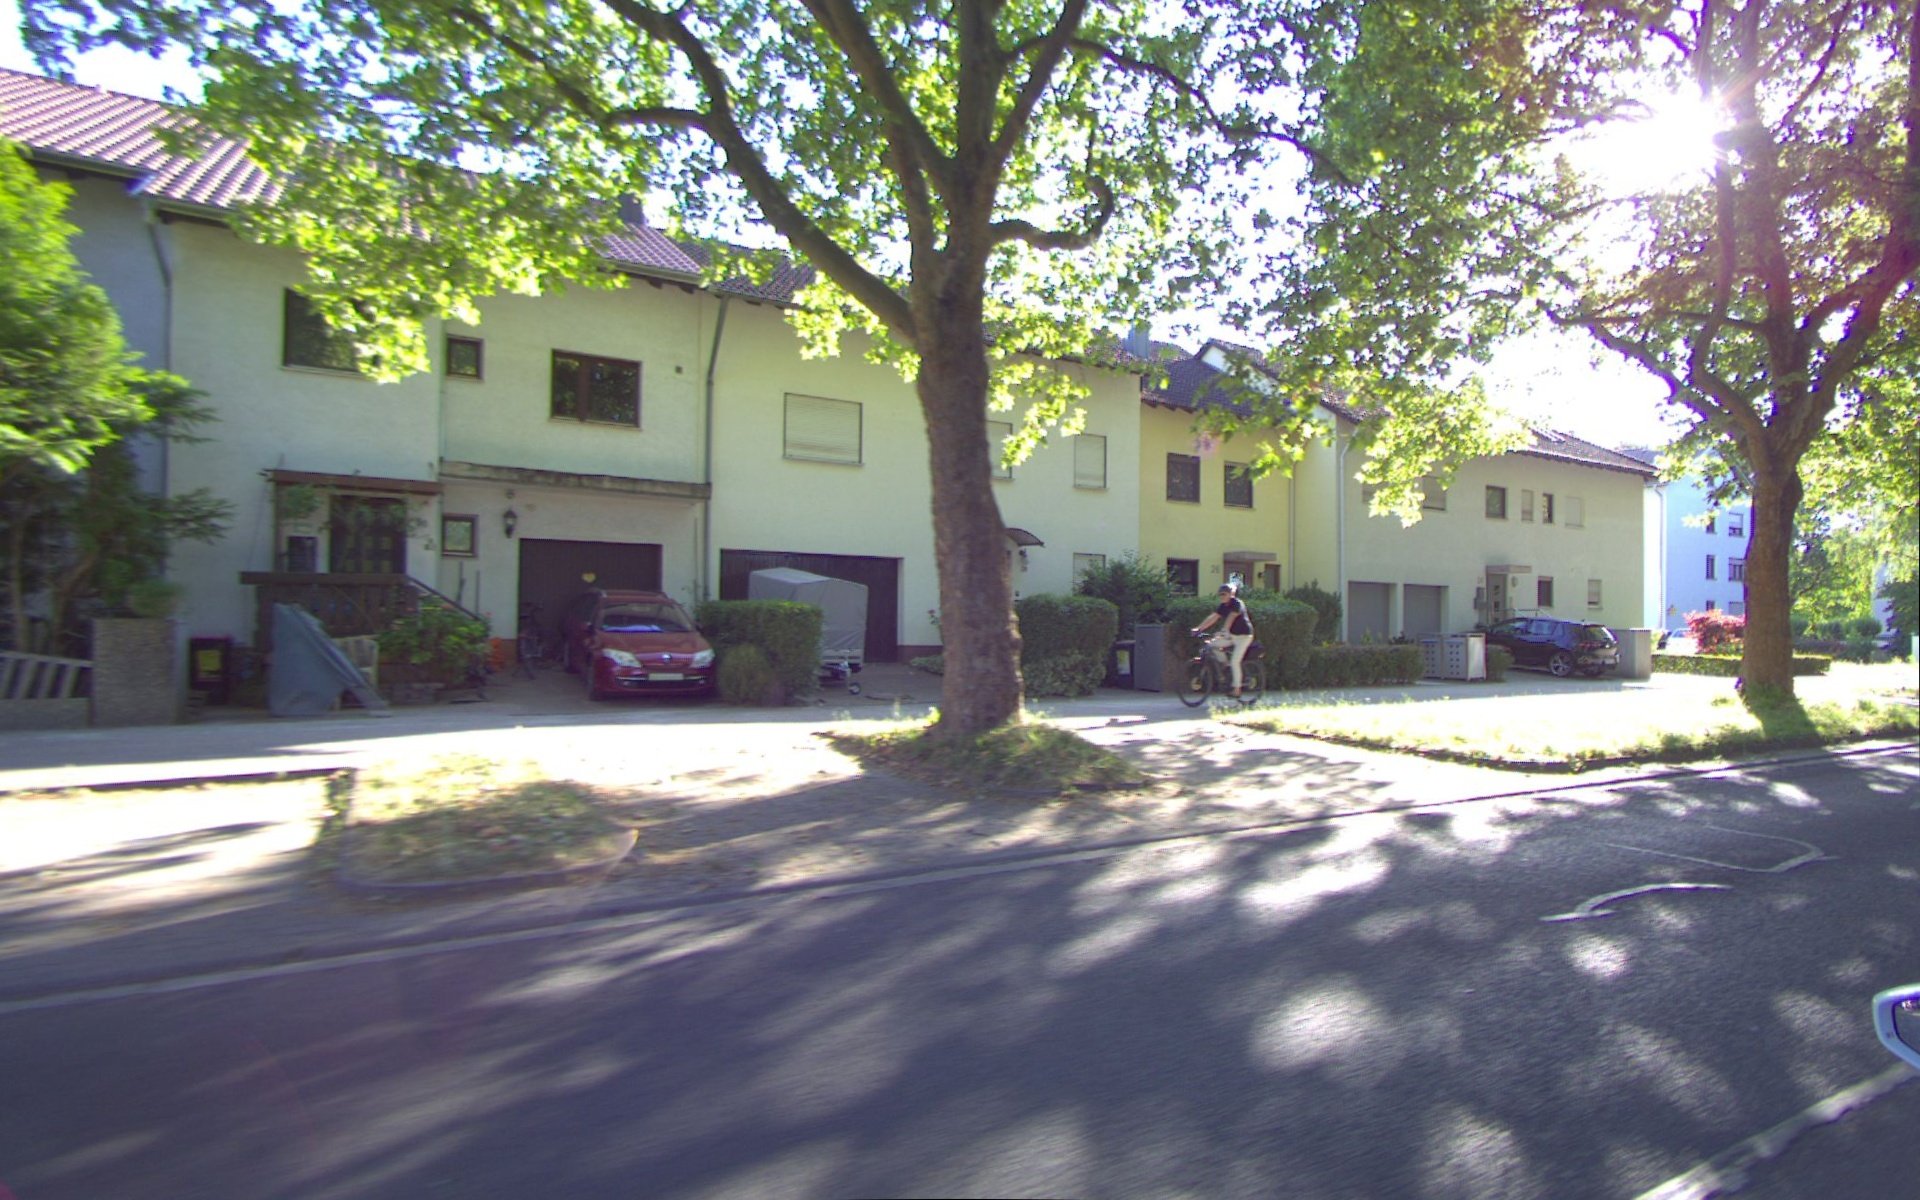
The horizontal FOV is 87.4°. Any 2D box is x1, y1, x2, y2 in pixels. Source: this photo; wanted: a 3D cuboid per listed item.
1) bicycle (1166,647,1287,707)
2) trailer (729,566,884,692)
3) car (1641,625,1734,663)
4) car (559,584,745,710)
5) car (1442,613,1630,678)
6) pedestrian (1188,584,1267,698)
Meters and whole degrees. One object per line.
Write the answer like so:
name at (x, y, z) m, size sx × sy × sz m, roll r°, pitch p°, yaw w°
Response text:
bicycle at (4.221, 1.196, 15.814) m, size 2.130 × 0.892 × 0.467 m, roll 2°, pitch -1°, yaw -30°
trailer at (-2.893, 0.431, 18.335) m, size 1.624 × 1.952 × 3.435 m, roll 0°, pitch 4°, yaw -31°
car at (32.331, 1.952, 44.617) m, size 3.954 × 1.595 × 1.983 m, roll 2°, pitch -1°, yaw -31°
car at (-4.935, 0.626, 15.697) m, size 1.976 × 1.497 × 3.968 m, roll 1°, pitch 3°, yaw -29°
car at (15.275, 1.159, 26.862) m, size 1.878 × 1.483 × 3.970 m, roll 2°, pitch 0°, yaw -28°
pedestrian at (4.216, 0.636, 15.829) m, size 1.053 × 1.739 × 0.614 m, roll 1°, pitch -1°, yaw -30°
